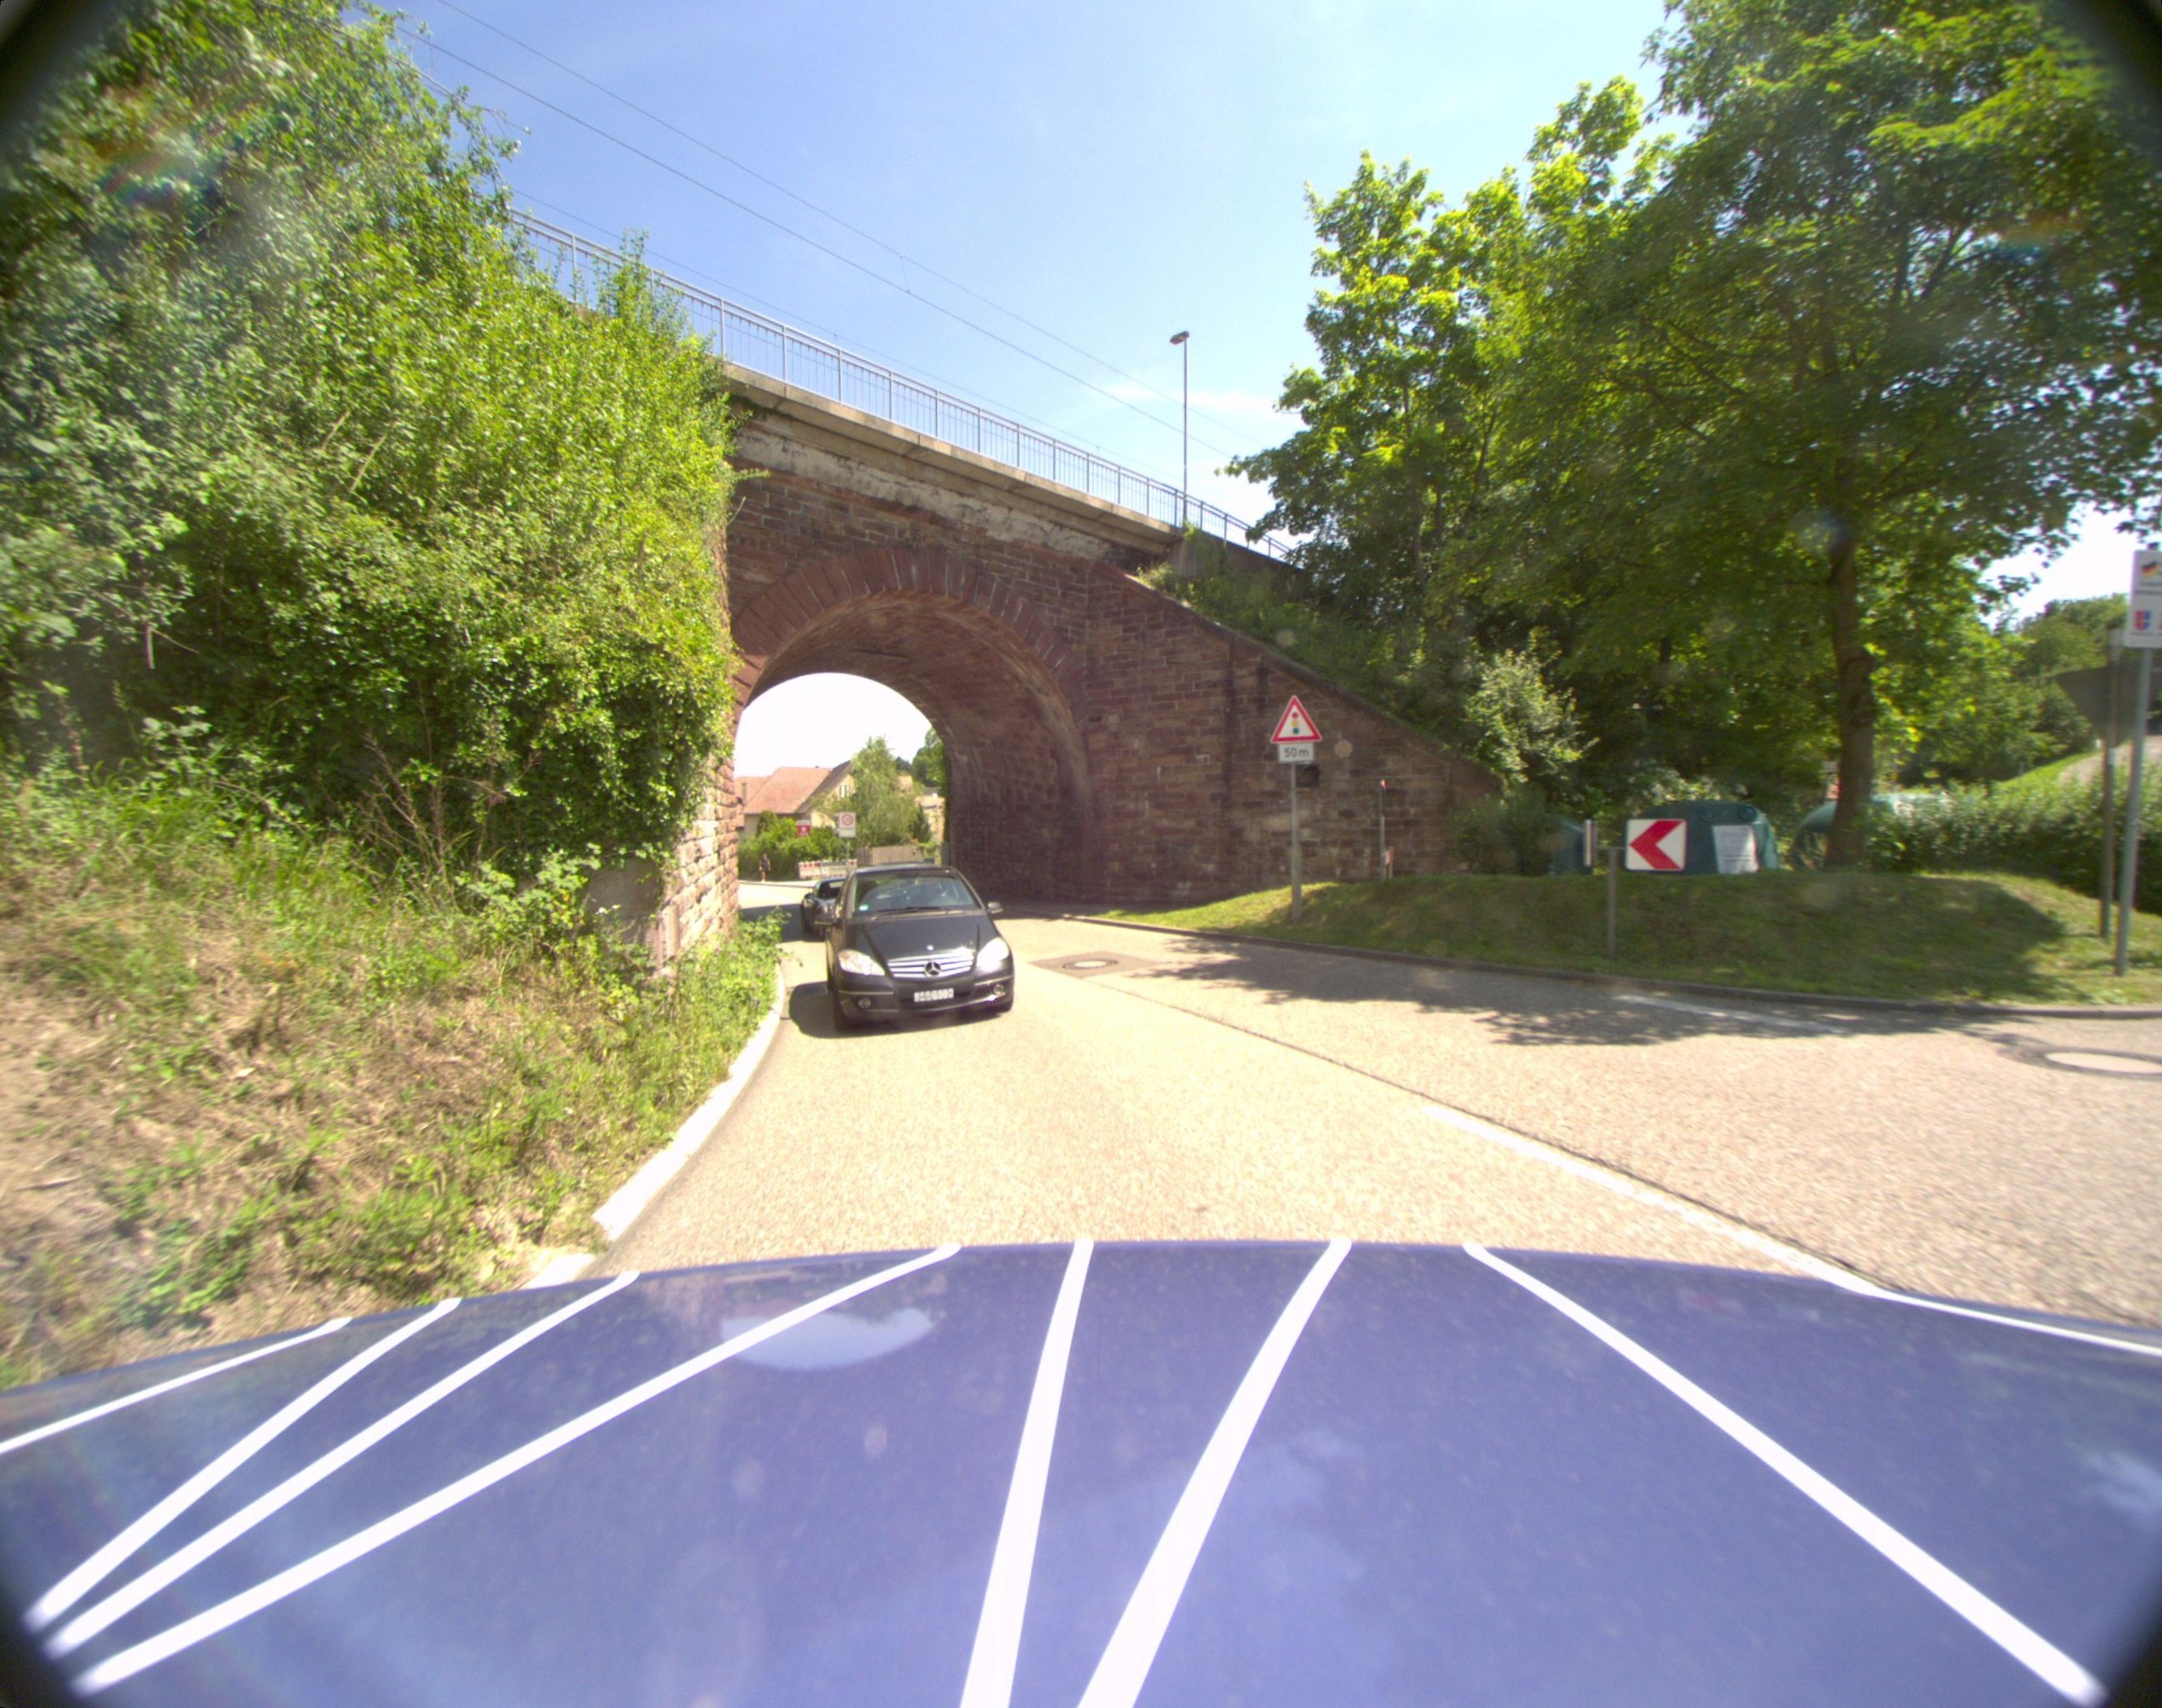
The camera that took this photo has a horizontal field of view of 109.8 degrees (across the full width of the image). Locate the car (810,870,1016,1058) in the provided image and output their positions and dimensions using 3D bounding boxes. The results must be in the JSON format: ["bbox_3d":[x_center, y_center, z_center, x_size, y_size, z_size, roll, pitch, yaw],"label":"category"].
[{"bbox_3d":[-2.147,1.024,8.829,1.798,1.570,3.793,-3,0,-20],"label":"car"}]

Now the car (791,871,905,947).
[{"bbox_3d":[-5.220,1.119,16.777,1.650,1.315,3.430,-5,2,-29],"label":"car"}]
